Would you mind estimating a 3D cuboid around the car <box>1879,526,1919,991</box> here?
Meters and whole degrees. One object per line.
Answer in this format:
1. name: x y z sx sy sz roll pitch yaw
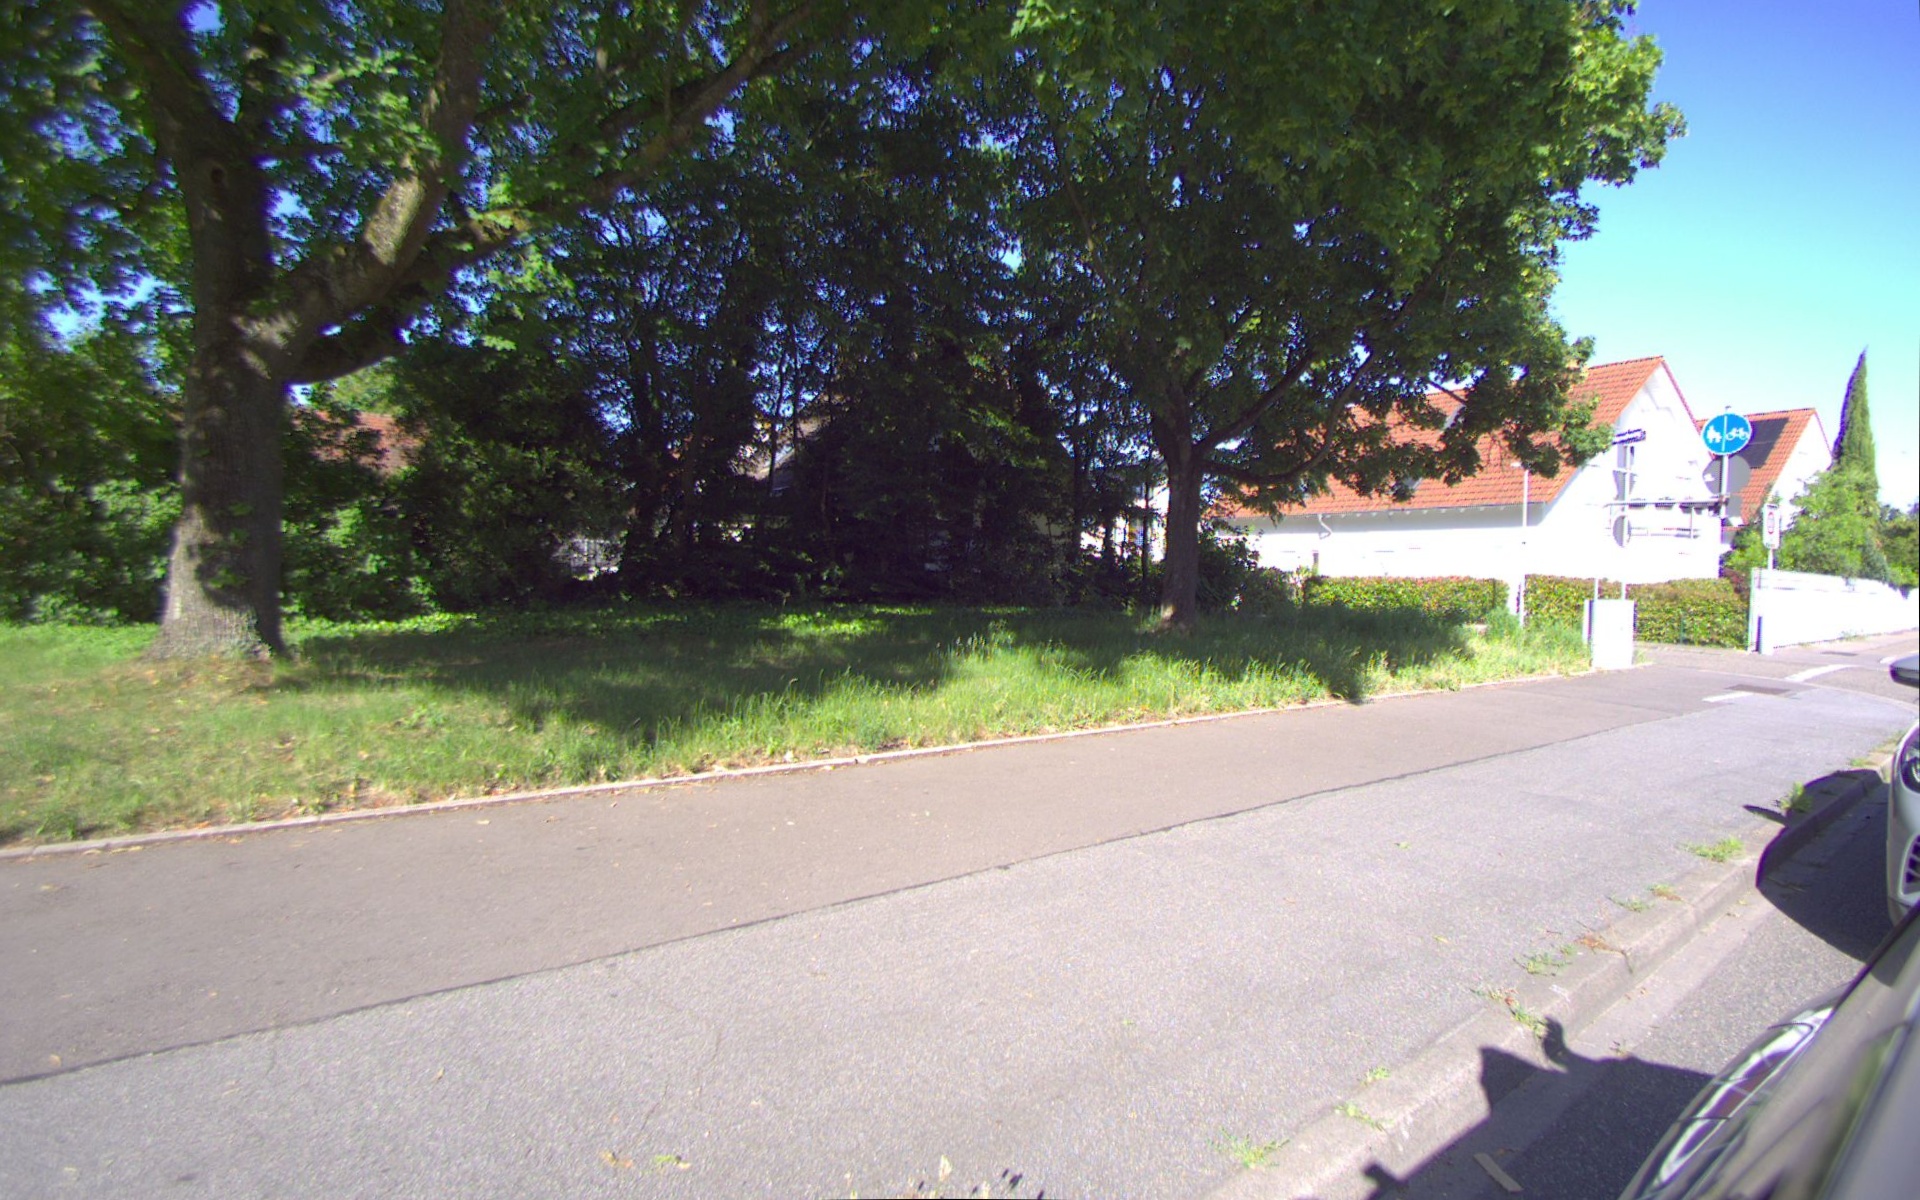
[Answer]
1. car: 5.635 0.606 4.435 4.133 1.710 1.857 0 3 -41
